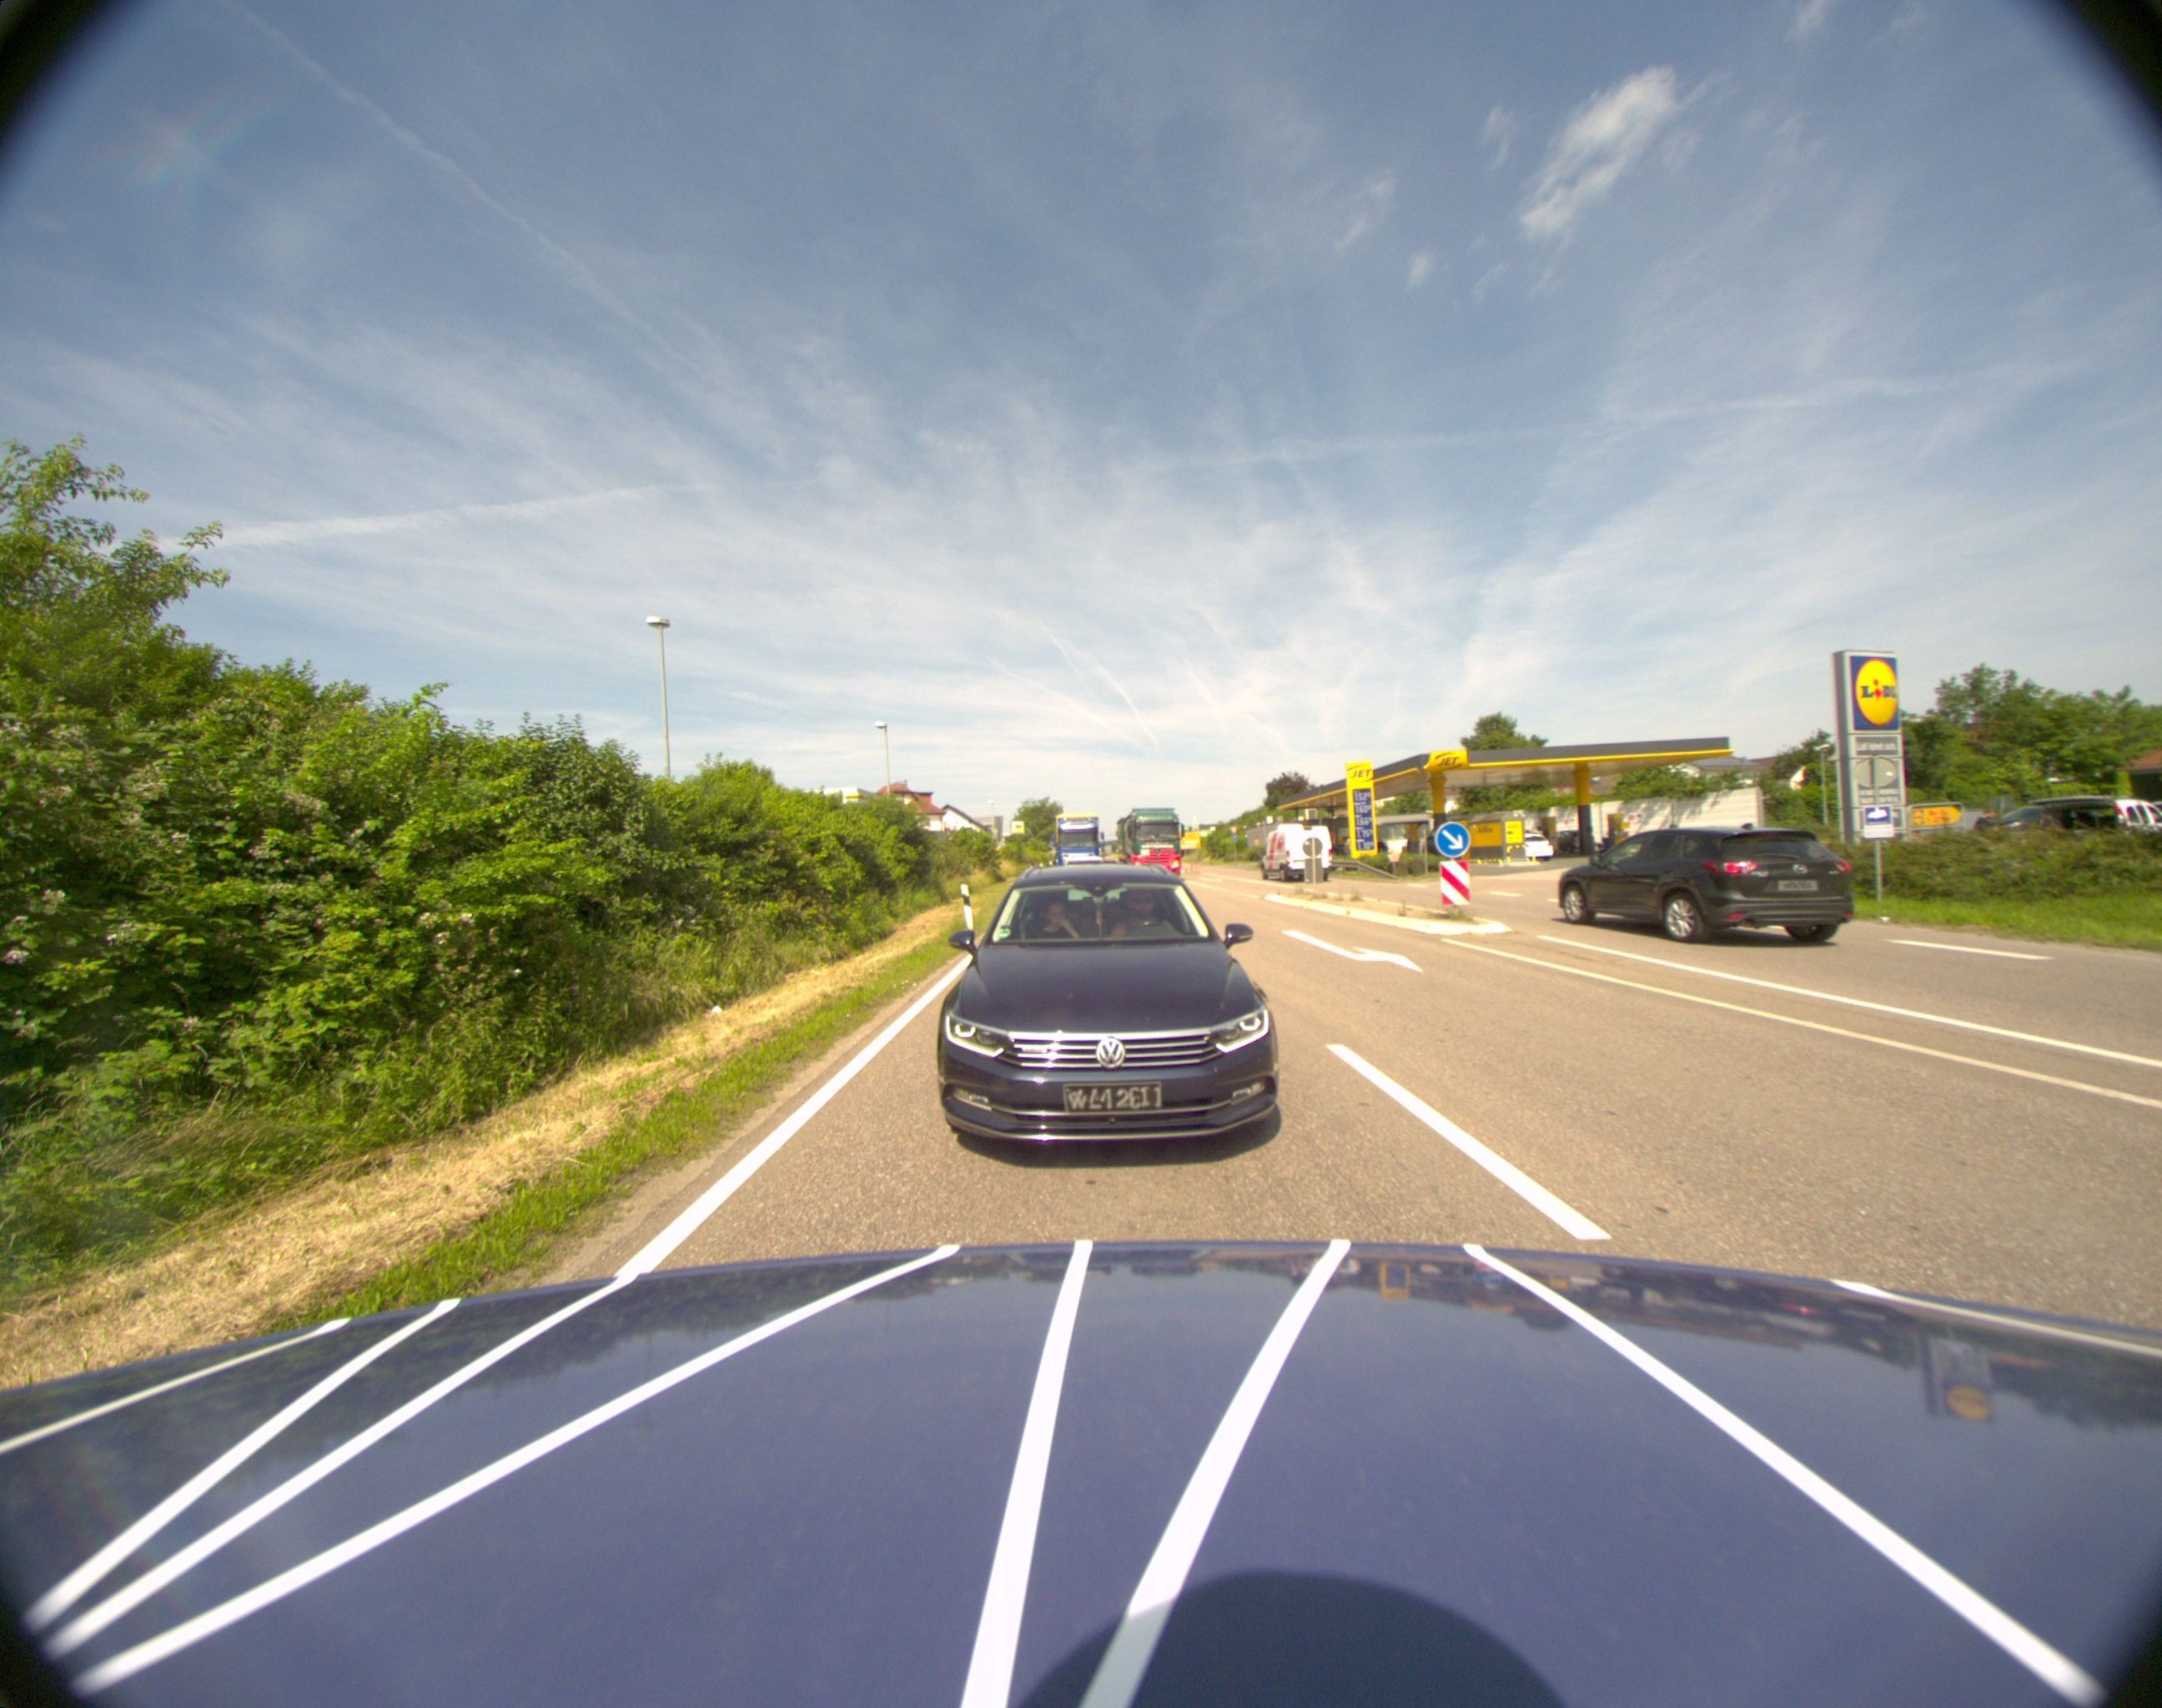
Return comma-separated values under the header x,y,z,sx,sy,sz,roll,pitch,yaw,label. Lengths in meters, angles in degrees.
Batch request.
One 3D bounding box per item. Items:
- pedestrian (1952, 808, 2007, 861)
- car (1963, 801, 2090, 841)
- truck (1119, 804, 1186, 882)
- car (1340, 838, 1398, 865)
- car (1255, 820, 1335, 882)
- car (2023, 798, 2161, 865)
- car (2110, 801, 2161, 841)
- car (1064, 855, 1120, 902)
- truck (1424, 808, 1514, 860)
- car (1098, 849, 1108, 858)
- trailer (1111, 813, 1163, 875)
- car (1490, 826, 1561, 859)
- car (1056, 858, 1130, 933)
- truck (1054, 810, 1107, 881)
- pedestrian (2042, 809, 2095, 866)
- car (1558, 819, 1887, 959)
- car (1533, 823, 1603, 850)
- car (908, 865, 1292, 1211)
x,y,z,sx,sy,sz,roll,pitch,yaw,label
27.197,-0.582,23.012,0.703,1.566,0.809,-2,0,6,pedestrian
43.484,-1.489,34.990,3.999,1.531,1.769,-3,0,-7,car
3.865,-0.585,43.663,2.675,3.897,10.048,-2,0,-1,truck
19.034,-0.144,50.413,1.999,1.696,4.263,-2,0,-3,car
10.153,-0.141,36.536,2.123,2.639,5.986,-2,0,1,car
30.686,-0.679,22.824,4.172,1.801,1.877,-3,1,-23,car
44.670,-1.447,30.781,3.999,1.531,1.769,-3,0,-7,car
0.392,0.818,27.420,1.814,1.466,3.973,-2,0,1,car
23.847,-1.196,47.027,2.250,2.906,6.282,-2,1,-1,truck
4.054,-0.073,139.459,1.819,1.626,3.893,-2,0,1,car
3.773,-0.654,53.020,2.809,3.897,8.668,-2,0,-1,trailer
24.240,-0.585,41.635,1.736,1.718,4.001,-1,0,3,car
0.270,0.860,17.406,1.471,1.451,3.797,-2,0,1,car
0.063,-0.528,49.885,2.855,3.999,12.916,-2,0,1,truck
28.267,-0.464,21.761,0.705,1.566,0.807,-3,2,-27,pedestrian
9.450,0.407,11.735,1.870,1.740,4.111,-2,1,5,car
32.190,-1.108,50.333,1.753,1.603,3.873,-2,0,-10,car
0.125,0.904,6.035,1.756,1.493,4.925,-2,0,1,car
